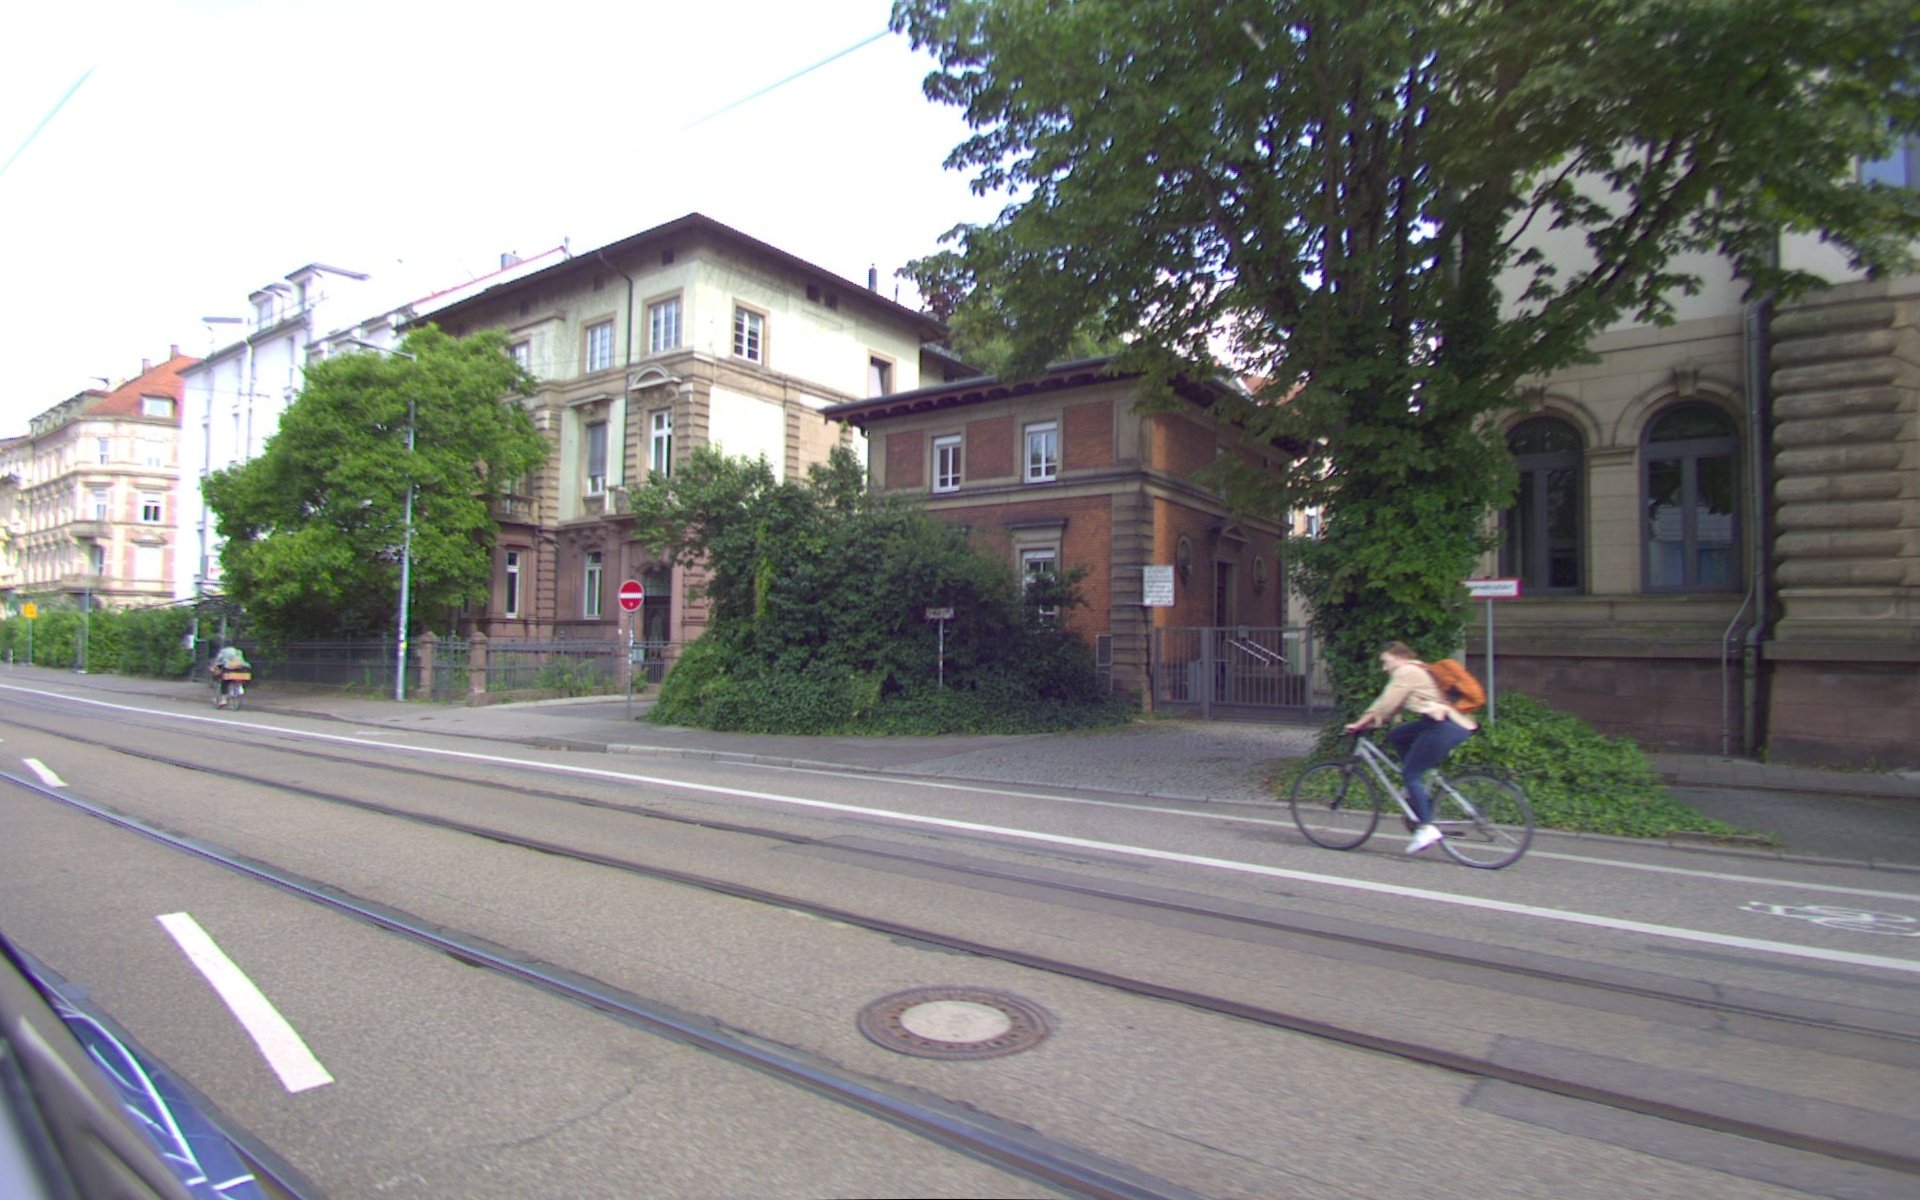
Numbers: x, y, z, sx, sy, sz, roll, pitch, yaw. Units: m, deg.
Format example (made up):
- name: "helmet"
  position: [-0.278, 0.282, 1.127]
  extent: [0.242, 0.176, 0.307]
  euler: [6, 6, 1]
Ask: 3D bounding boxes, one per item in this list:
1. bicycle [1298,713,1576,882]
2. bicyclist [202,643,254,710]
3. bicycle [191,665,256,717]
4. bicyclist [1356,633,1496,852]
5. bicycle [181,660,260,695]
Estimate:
- name: "bicycle"
  position: [3.551, 1.416, 7.603]
  extent: [1.814, 1.025, 0.693]
  euler: [-1, -5, 33]
- name: "bicyclist"
  position: [-17.097, 1.776, 23.626]
  extent: [0.881, 1.504, 0.593]
  euler: [-2, -10, 39]
- name: "bicycle"
  position: [-17.258, 2.113, 23.698]
  extent: [2.020, 1.105, 0.596]
  euler: [-2, -10, 39]
- name: "bicyclist"
  position: [3.520, 1.028, 7.652]
  extent: [0.865, 1.531, 0.685]
  euler: [-1, -5, 33]
- name: "bicycle"
  position: [-22.648, 2.351, 30.970]
  extent: [2.983, 0.915, 1.132]
  euler: [-1, -1, 37]
